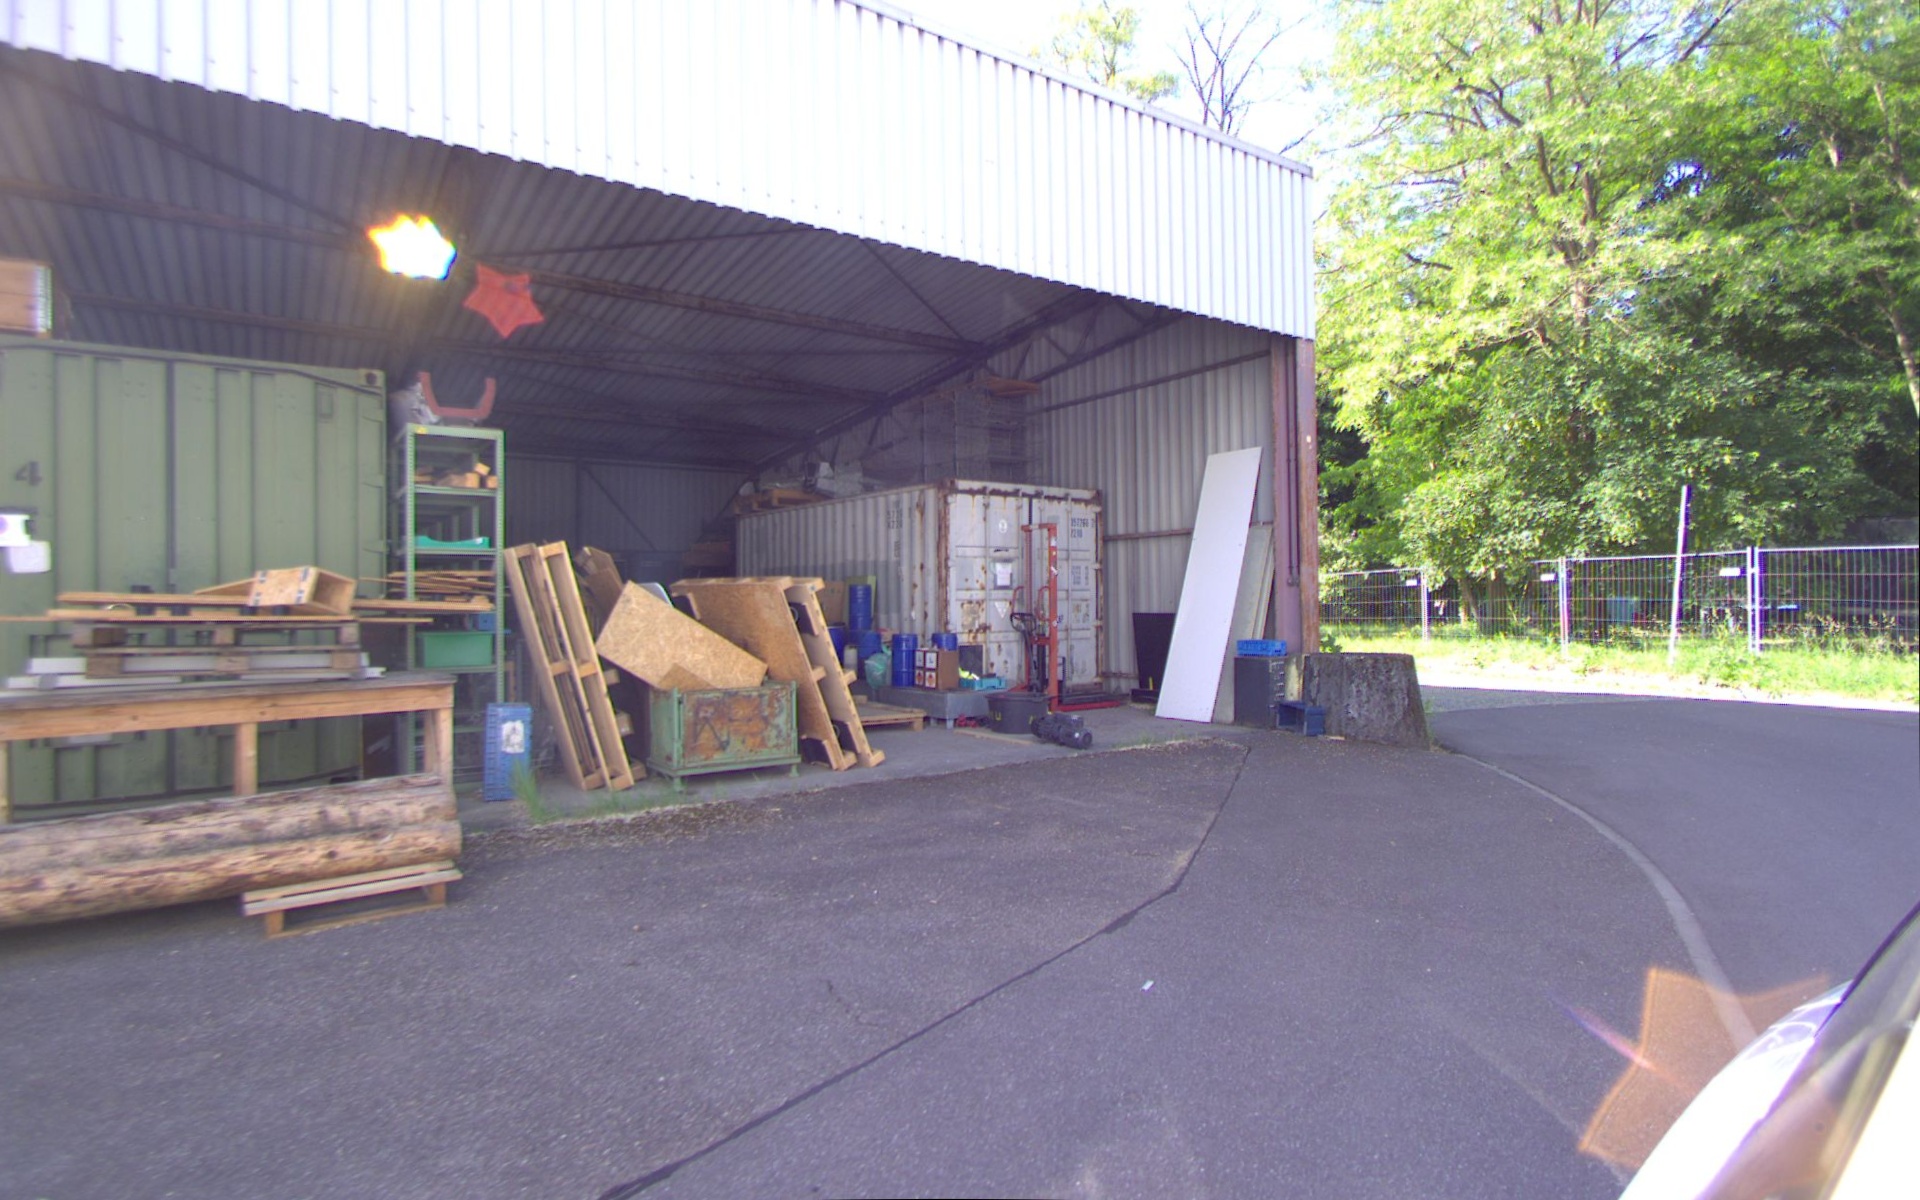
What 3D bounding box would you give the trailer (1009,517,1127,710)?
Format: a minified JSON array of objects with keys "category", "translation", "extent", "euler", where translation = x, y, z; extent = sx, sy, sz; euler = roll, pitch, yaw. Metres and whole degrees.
[{"category":"trailer","translation":[1.249,0.165,11.621],"extent":[1.260,2.095,0.581],"euler":[2,-4,-38]}]
